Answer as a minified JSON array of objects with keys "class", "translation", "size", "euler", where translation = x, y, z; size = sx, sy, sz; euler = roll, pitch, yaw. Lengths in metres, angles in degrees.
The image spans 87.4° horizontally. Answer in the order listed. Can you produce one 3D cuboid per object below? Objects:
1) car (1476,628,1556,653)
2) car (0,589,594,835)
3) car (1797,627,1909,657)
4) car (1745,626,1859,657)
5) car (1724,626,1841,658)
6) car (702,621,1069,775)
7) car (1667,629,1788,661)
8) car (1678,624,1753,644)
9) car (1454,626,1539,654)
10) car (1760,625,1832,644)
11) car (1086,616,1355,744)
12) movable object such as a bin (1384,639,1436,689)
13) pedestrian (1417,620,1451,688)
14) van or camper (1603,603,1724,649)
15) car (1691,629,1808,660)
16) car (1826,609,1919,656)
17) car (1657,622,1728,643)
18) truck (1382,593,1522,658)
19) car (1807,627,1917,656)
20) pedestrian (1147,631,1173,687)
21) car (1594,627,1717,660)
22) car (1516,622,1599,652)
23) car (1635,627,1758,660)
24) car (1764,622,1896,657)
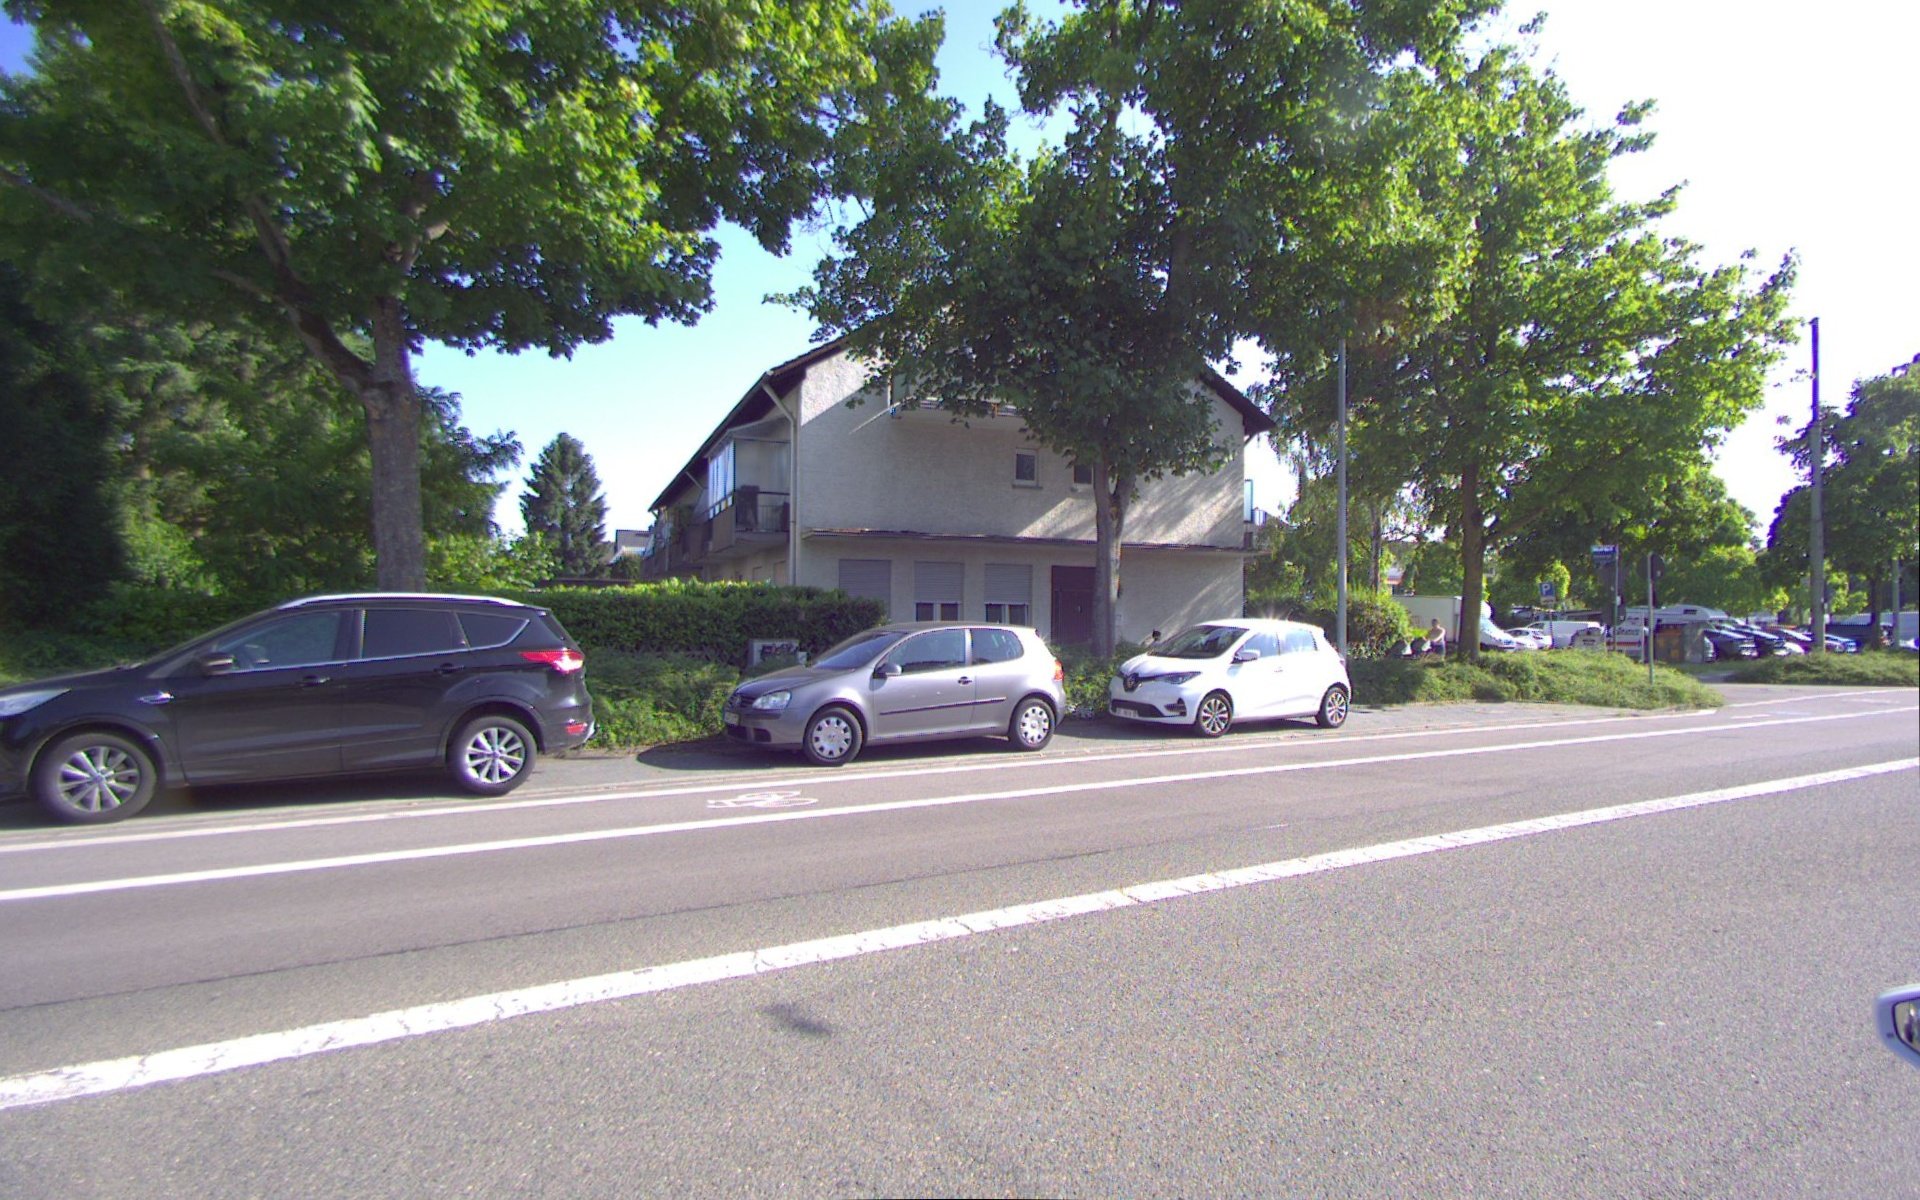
[{"class":"car","translation":[32.817,2.360,59.396],"size":[1.604,1.379,3.976],"euler":[1,-1,-24]},{"class":"car","translation":[-5.588,0.816,8.645],"size":[4.370,1.716,1.704],"euler":[1,-1,-30]},{"class":"car","translation":[45.468,2.104,51.208],"size":[1.719,1.416,3.964],"euler":[1,-1,-33]},{"class":"car","translation":[41.083,2.015,49.092],"size":[1.719,1.416,3.964],"euler":[1,-1,-33]},{"class":"car","translation":[38.721,1.963,47.368],"size":[1.719,1.416,3.964],"euler":[1,-1,-33]},{"class":"car","translation":[-0.790,1.011,11.609],"size":[3.925,1.488,1.667],"euler":[1,-1,-33]},{"class":"car","translation":[34.046,1.959,44.640],"size":[1.719,1.324,3.964],"euler":[1,-1,-33]},{"class":"car","translation":[54.528,2.432,72.560],"size":[1.719,1.416,3.964],"euler":[1,-1,-33]},{"class":"car","translation":[30.712,2.260,57.572],"size":[1.719,1.477,3.964],"euler":[1,-1,-33]},{"class":"car","translation":[64.937,2.634,78.064],"size":[1.719,1.416,3.964],"euler":[1,-1,-33]},{"class":"car","translation":[3.824,1.062,14.528],"size":[3.853,1.571,1.591],"euler":[1,1,-34]},{"class":"movable object such as a bin","translation":[10.837,1.536,24.195],"size":[1.246,1.161,0.539],"euler":[1,-1,-30]},{"class":"pedestrian","translation":[11.640,1.317,24.676],"size":[0.603,1.649,0.522],"euler":[1,-1,-30]},{"class":"van or camper","translation":[47.577,1.713,68.124],"size":[2.279,2.906,6.436],"euler":[1,-1,-29]},{"class":"car","translation":[36.613,2.019,46.653],"size":[1.719,1.324,3.964],"euler":[1,-1,-33]},{"class":"car","translation":[50.249,1.723,53.888],"size":[2.062,2.455,5.351],"euler":[1,-1,-29]},{"class":"car","translation":[50.495,2.239,69.305],"size":[1.719,1.416,3.642],"euler":[1,-1,-33]},{"class":"truck","translation":[26.632,1.378,54.756],"size":[1.965,3.285,6.926],"euler":[1,-1,-31]},{"class":"car","translation":[47.059,2.136,52.470],"size":[1.719,1.416,3.964],"euler":[1,-1,-33]},{"class":"pedestrian","translation":[4.234,1.247,21.261],"size":[0.440,1.177,0.345],"euler":[1,-1,-22]},{"class":"car","translation":[29.467,1.813,42.657],"size":[1.719,1.324,3.964],"euler":[1,-1,-33]},{"class":"car","translation":[35.396,2.166,59.552],"size":[1.611,1.751,3.959],"euler":[1,-1,-36]},{"class":"car","translation":[31.773,1.843,43.414],"size":[1.719,1.324,3.964],"euler":[1,-1,-33]},{"class":"car","translation":[43.275,1.930,50.068],"size":[2.026,1.673,4.594],"euler":[1,-1,-31]}]
